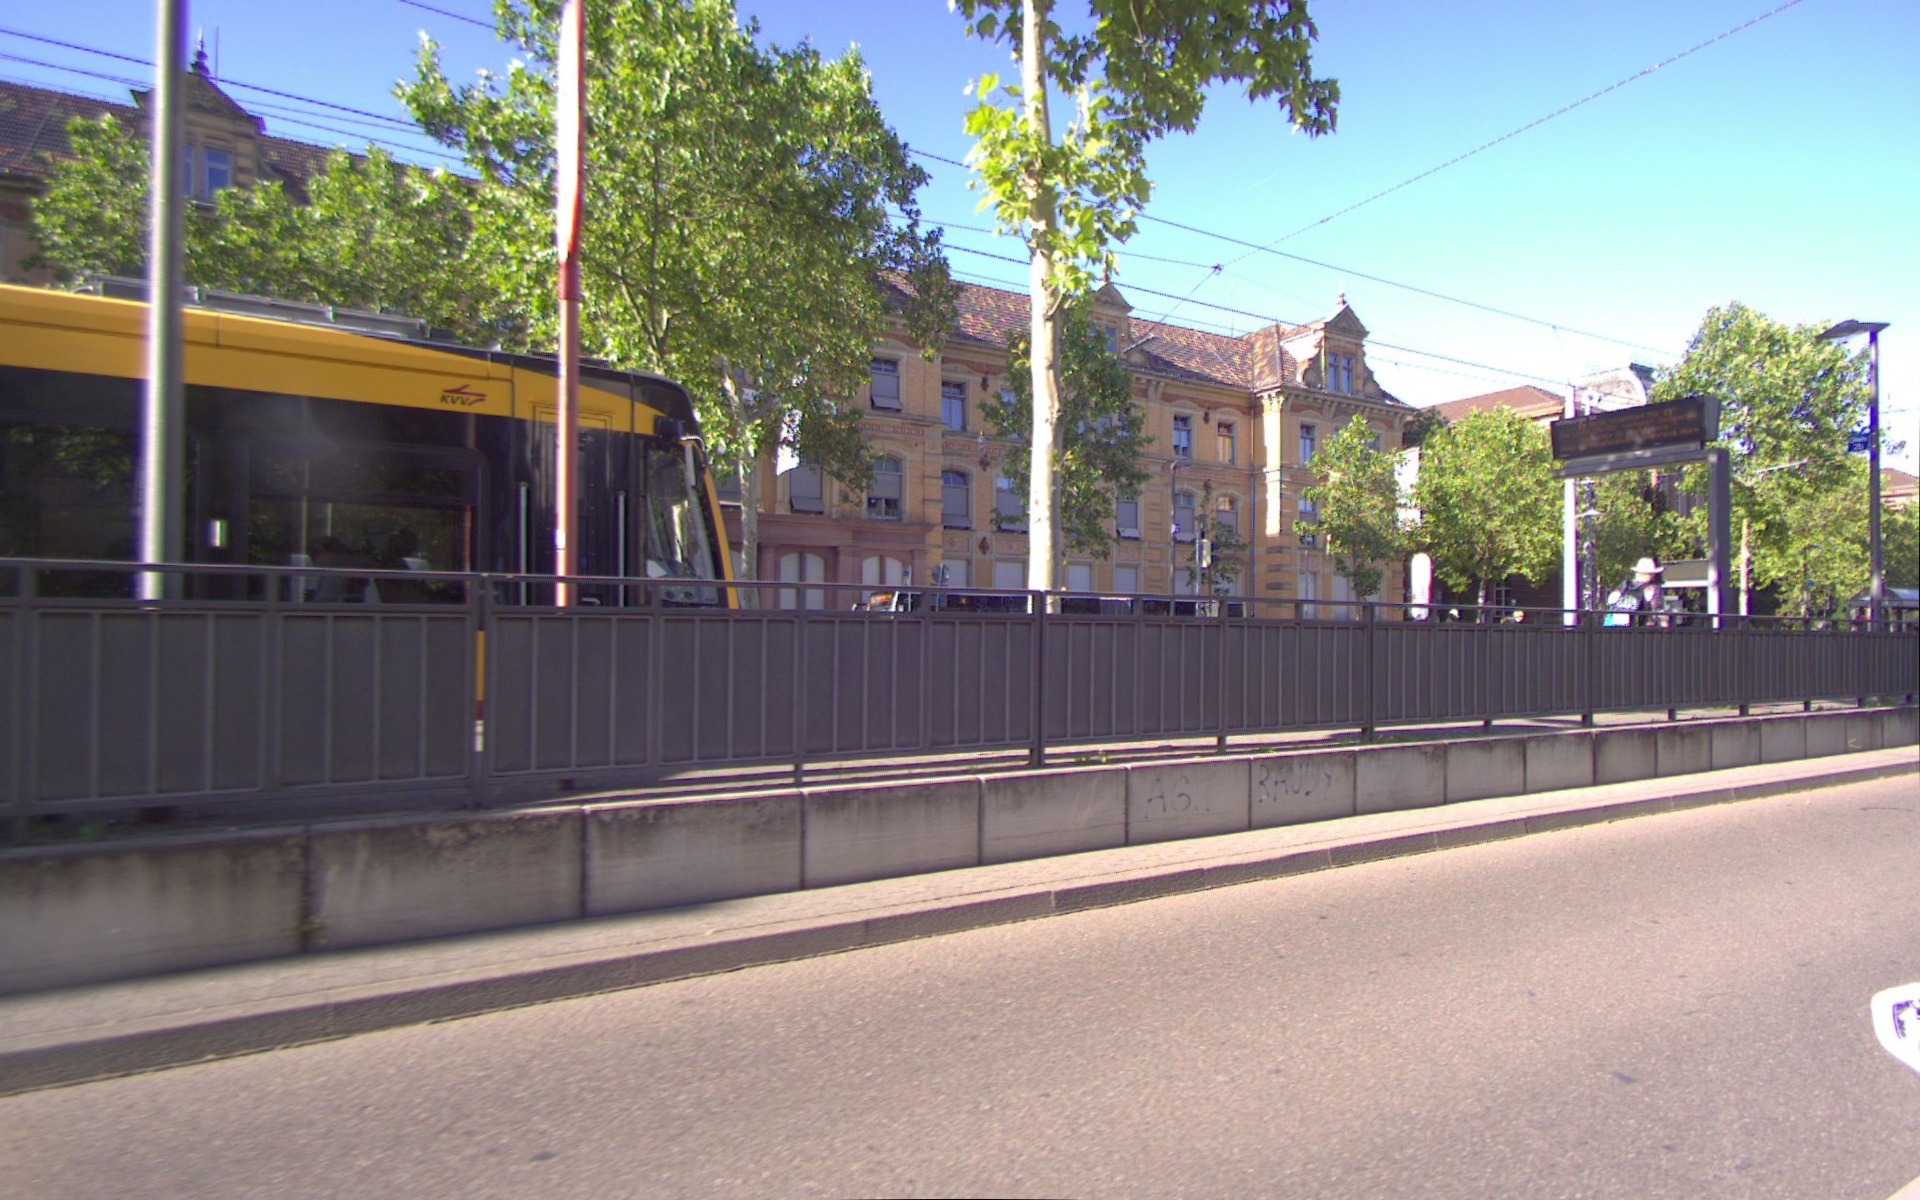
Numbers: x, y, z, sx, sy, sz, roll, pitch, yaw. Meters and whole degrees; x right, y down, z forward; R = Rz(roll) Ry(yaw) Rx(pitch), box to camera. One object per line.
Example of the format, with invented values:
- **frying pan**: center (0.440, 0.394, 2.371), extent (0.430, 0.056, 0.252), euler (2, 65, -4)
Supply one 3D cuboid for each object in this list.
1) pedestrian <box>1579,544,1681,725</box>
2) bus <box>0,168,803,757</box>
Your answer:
- **pedestrian**: center (7.643, 0.376, 11.466), extent (0.804, 1.980, 0.636), euler (0, 1, -30)
- **bus**: center (-6.993, -0.815, 6.847), extent (11.472, 3.490, 2.856), euler (1, -1, -30)
